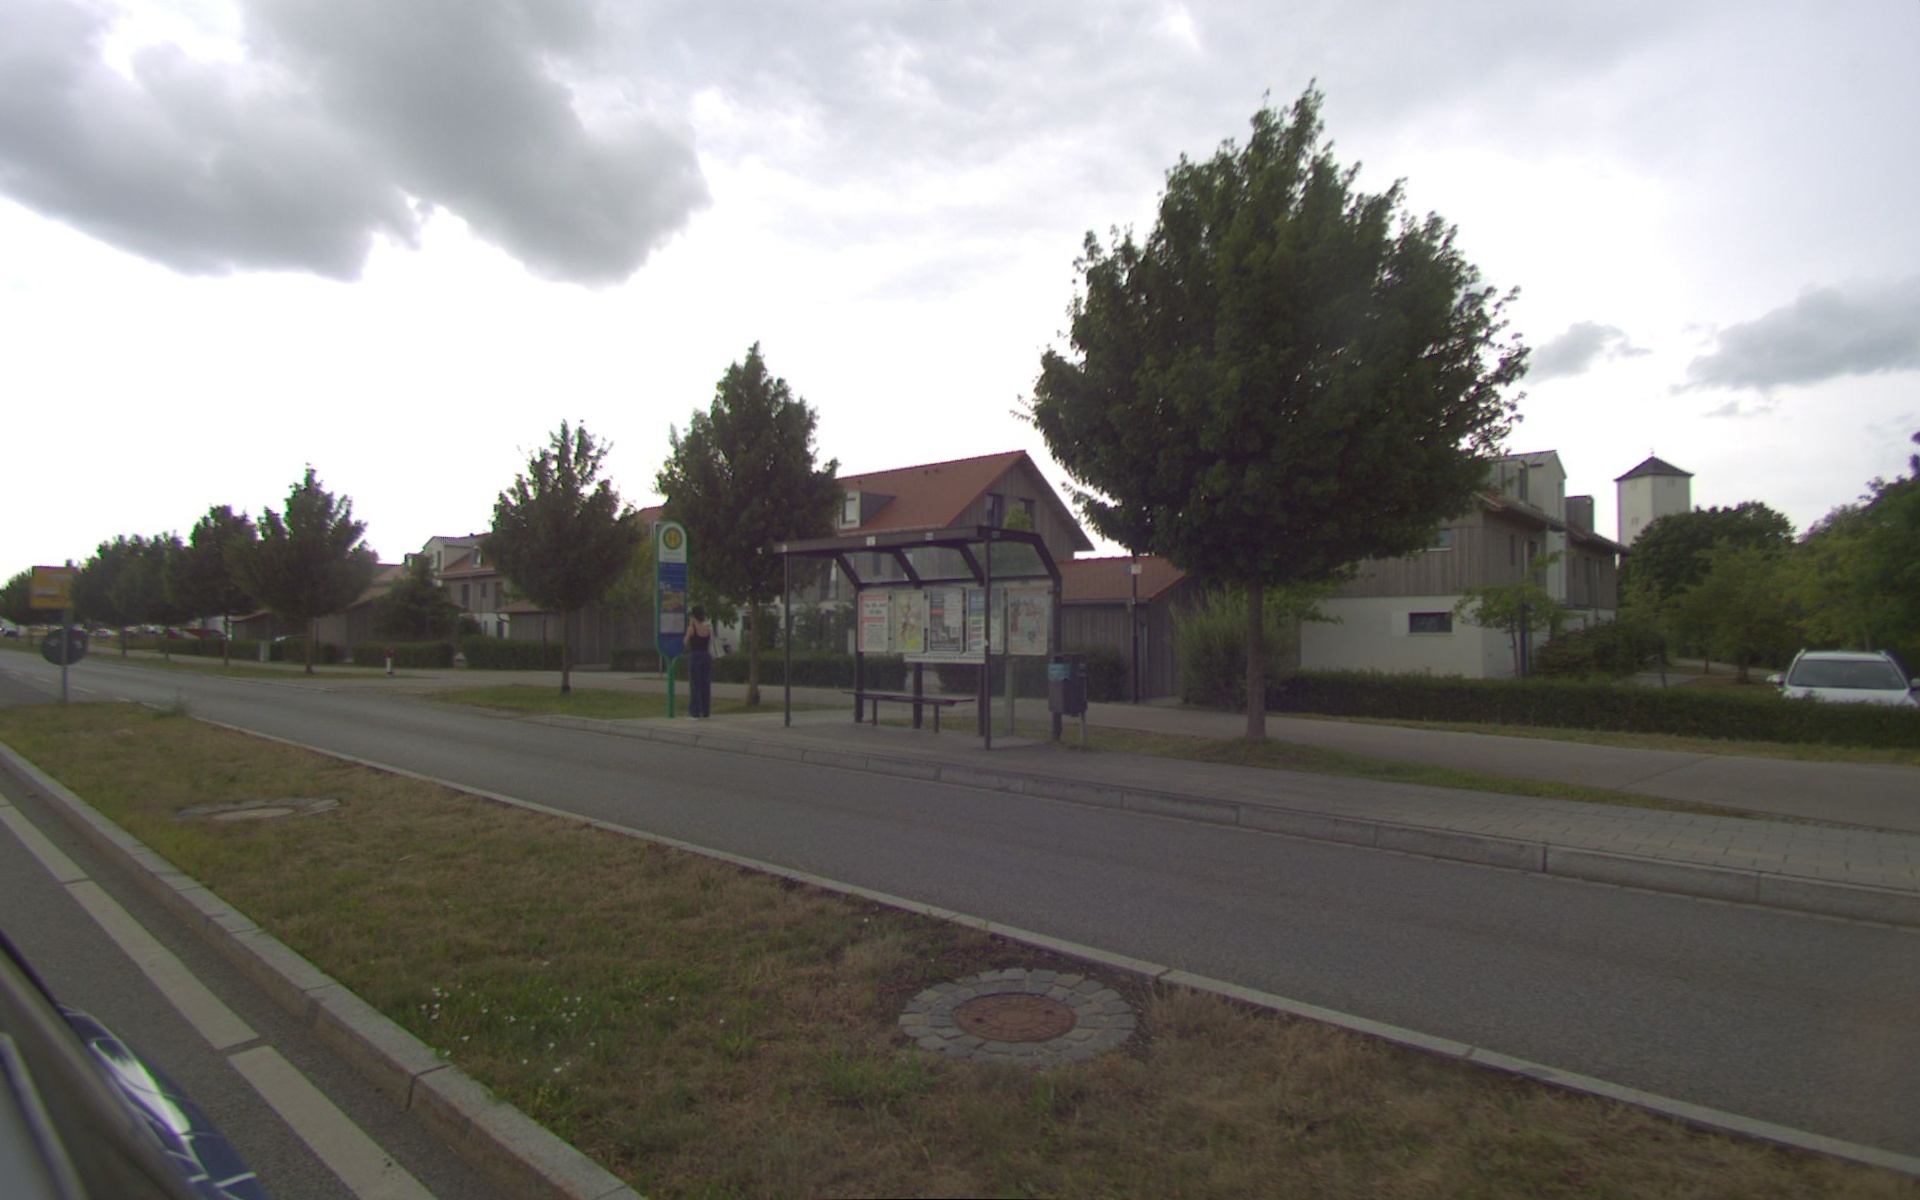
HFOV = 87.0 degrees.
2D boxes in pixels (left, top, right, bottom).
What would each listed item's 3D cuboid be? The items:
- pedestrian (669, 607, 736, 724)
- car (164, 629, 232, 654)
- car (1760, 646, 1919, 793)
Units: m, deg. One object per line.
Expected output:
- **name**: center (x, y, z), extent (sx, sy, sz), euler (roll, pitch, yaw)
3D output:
- **pedestrian**: center (-3.761, 0.943, 14.777), extent (0.812, 1.649, 0.582), euler (-2, -3, 40)
- **car**: center (-66.887, 3.628, 88.864), extent (2.001, 2.029, 4.506), euler (-1, 0, 45)
- **car**: center (14.322, 1.793, 16.464), extent (1.998, 2.029, 3.948), euler (-1, -2, 38)
